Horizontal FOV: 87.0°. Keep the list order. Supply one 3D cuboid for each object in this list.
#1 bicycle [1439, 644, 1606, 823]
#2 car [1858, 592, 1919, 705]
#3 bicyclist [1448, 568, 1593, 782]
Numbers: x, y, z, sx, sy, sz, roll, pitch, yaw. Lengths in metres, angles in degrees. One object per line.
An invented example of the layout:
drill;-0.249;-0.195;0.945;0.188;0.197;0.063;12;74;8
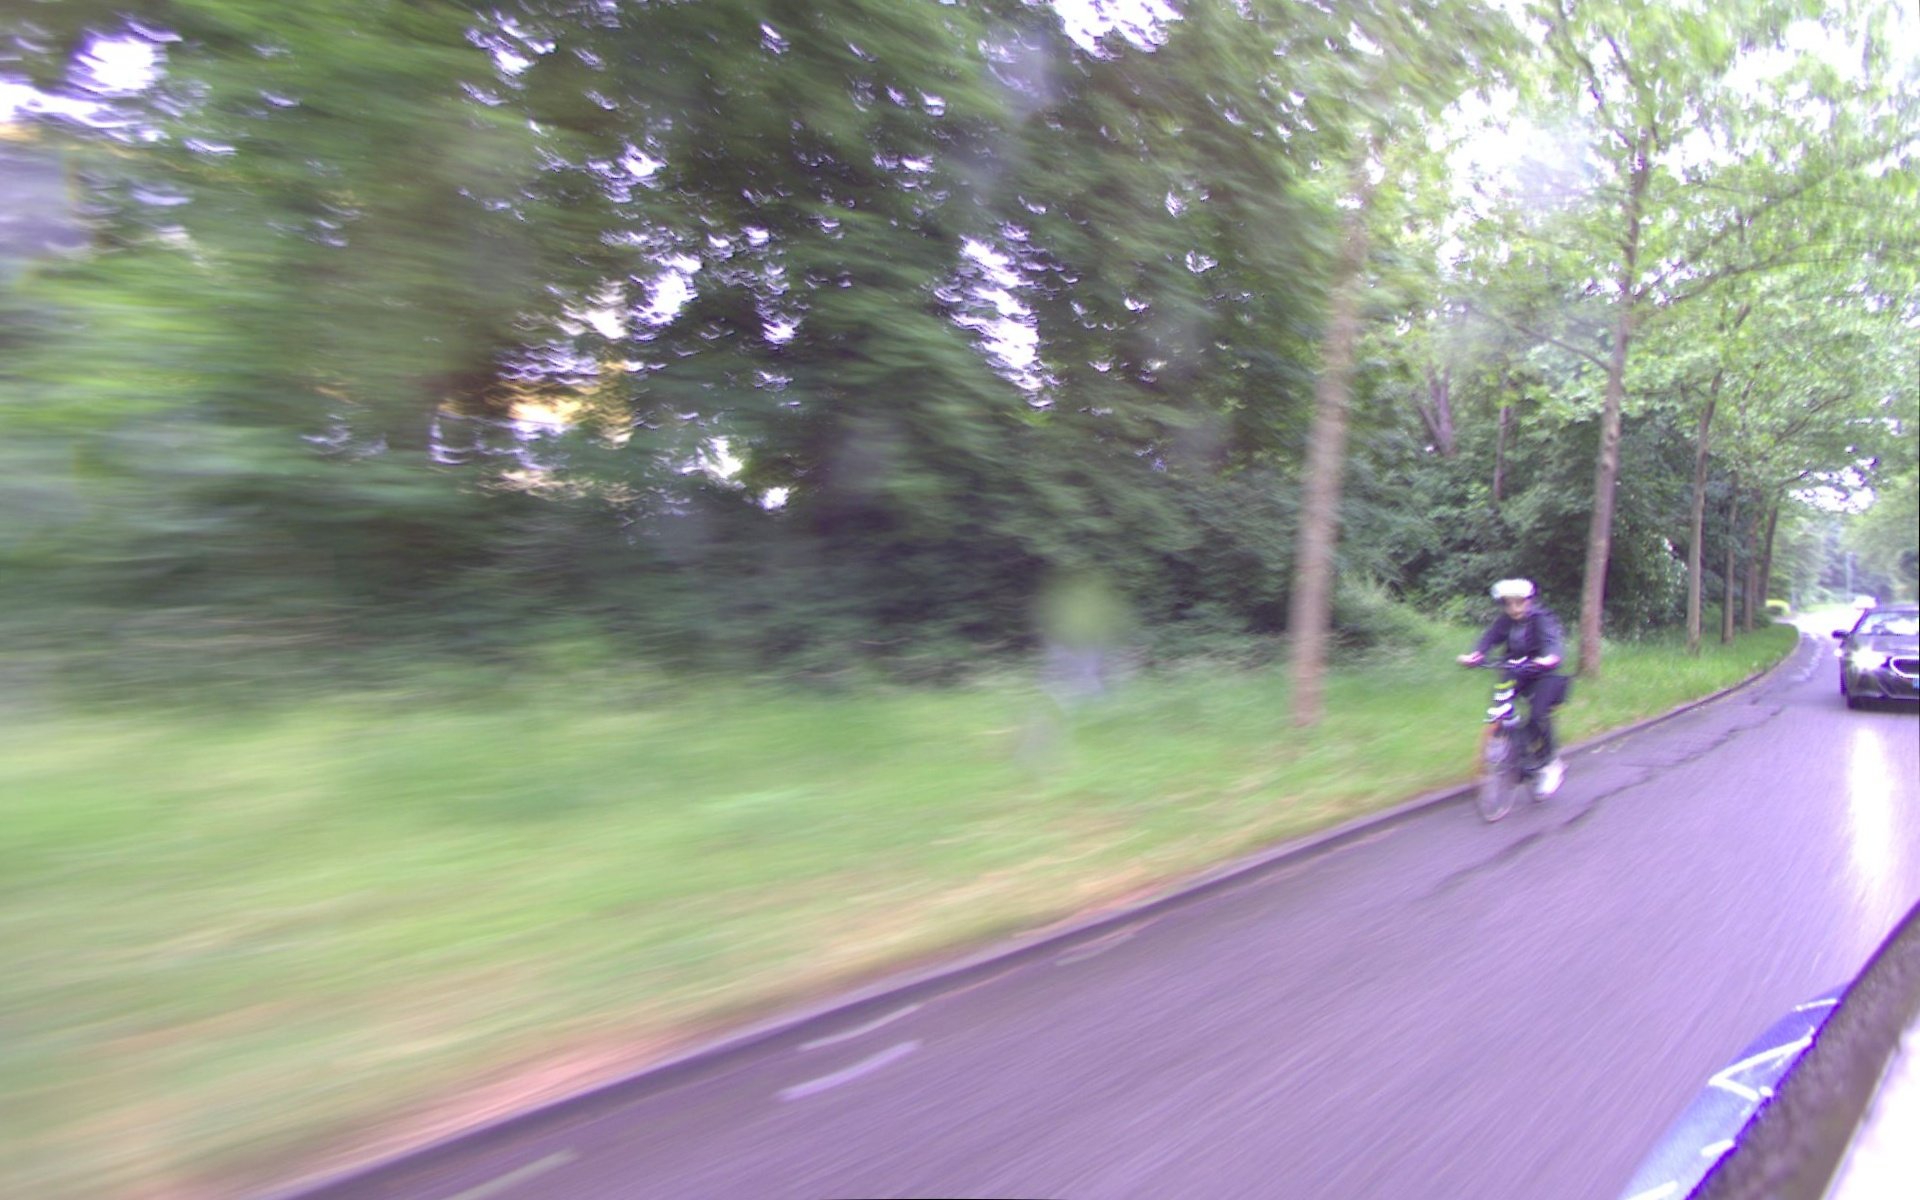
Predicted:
bicycle;4.294;0.943;7.669;1.800;1.148;0.453;-1;-1;-39
car;14.986;0.638;15.056;4.817;1.513;1.841;-1;0;-41
bicyclist;4.255;0.530;7.684;0.786;1.516;0.697;0;-1;-39
